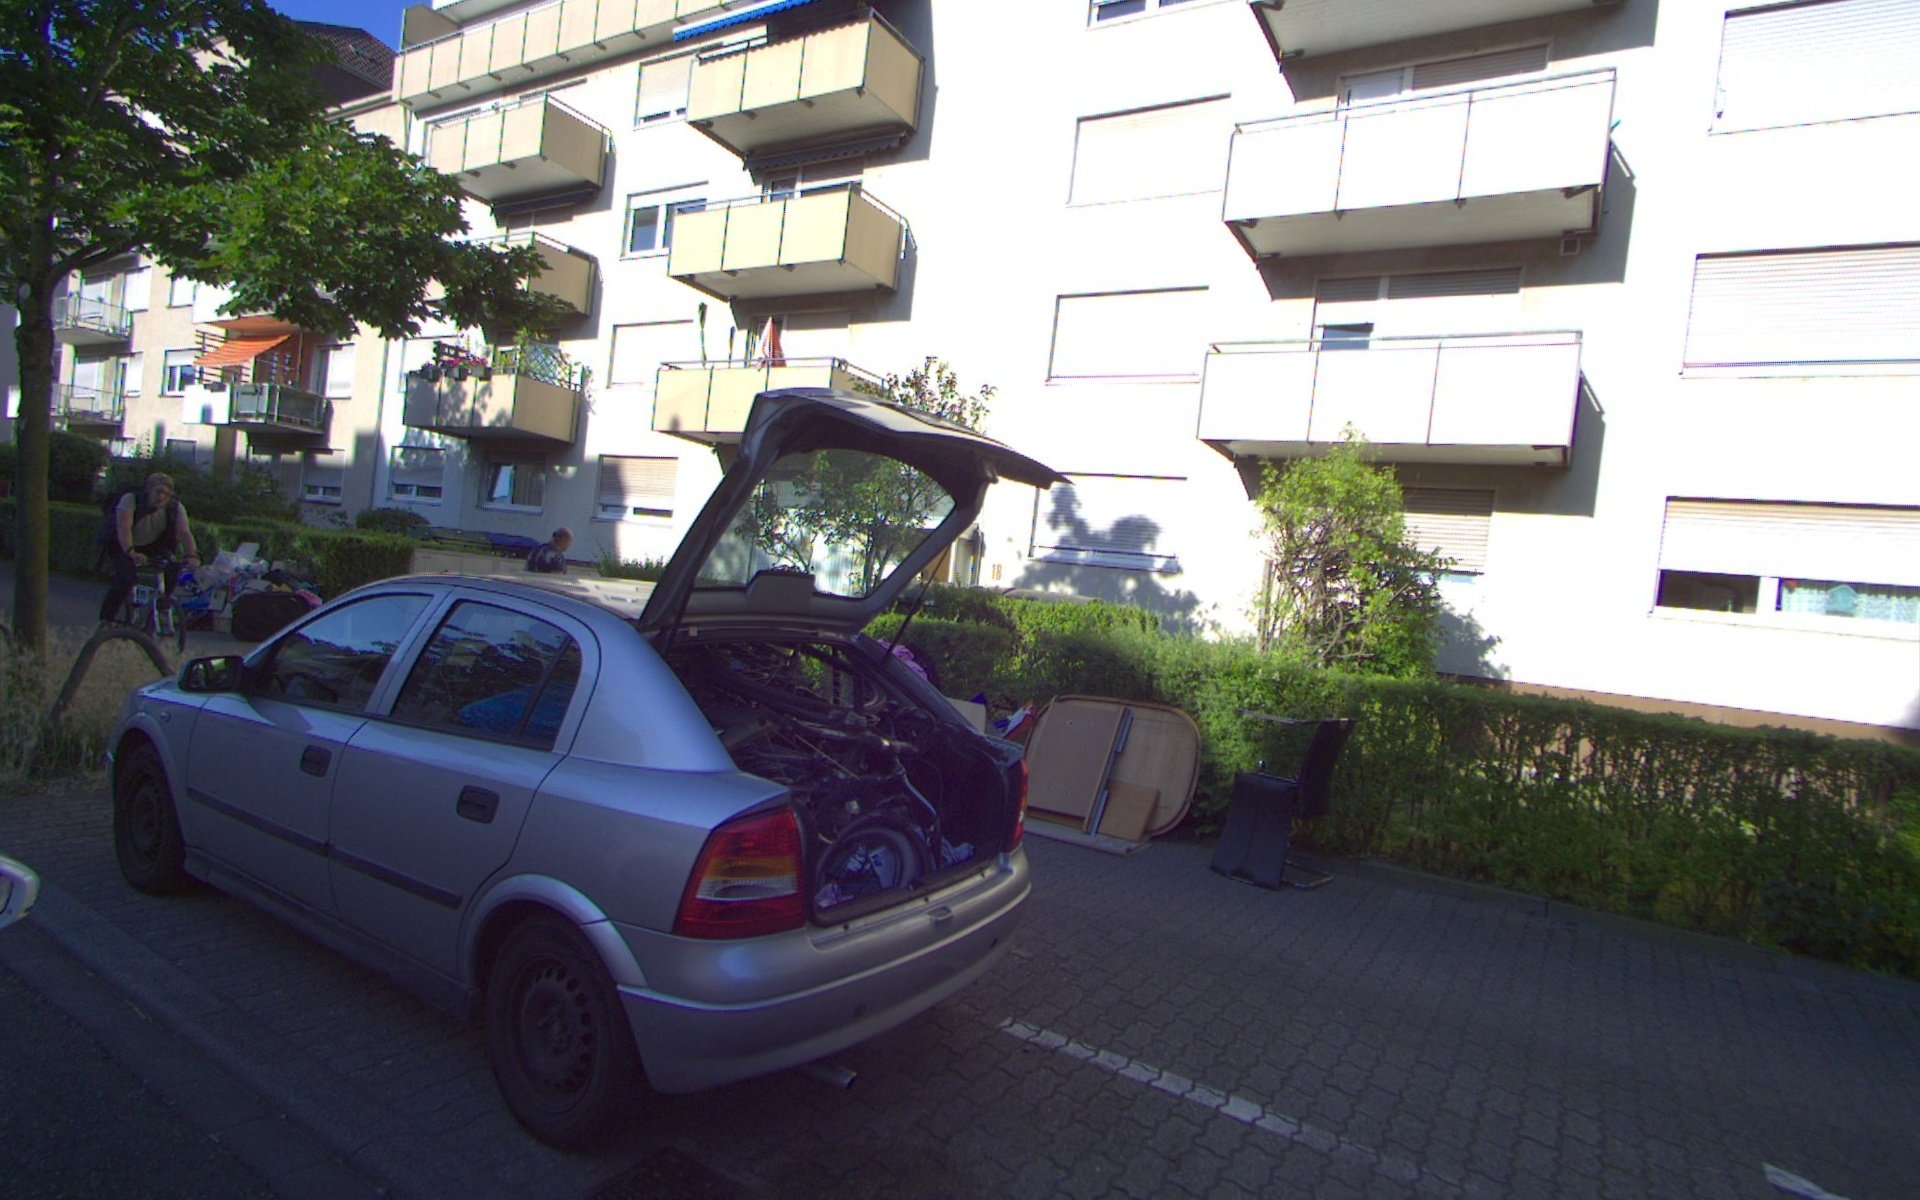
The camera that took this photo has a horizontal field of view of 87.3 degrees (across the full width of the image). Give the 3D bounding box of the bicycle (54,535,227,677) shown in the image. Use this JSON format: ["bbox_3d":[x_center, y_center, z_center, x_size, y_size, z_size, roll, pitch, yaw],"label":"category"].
[{"bbox_3d":[-7.670,0.035,9.377,2.045,1.089,0.557,7,1,32],"label":"bicycle"}]

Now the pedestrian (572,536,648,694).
[{"bbox_3d":[-3.695,0.150,10.592,0.585,1.560,0.692,6,1,-22],"label":"pedestrian"}]

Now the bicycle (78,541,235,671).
[{"bbox_3d":[-7.529,0.042,9.399,1.801,0.999,0.516,7,1,32],"label":"bicycle"}]

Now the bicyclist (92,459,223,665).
[{"bbox_3d":[-7.485,-0.349,9.386,0.838,1.811,0.581,7,1,32],"label":"bicyclist"}]

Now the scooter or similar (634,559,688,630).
[{"bbox_3d":[-5.787,-0.103,19.480,0.657,1.289,0.615,7,1,32],"label":"scooter or similar"}]

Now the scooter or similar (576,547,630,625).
[{"bbox_3d":[-7.202,-0.277,20.294,0.657,1.460,0.615,7,1,32],"label":"scooter or similar"}]

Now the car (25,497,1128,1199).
[{"bbox_3d":[-1.701,0.547,3.886,4.197,1.500,1.708,7,2,31],"label":"car"}]

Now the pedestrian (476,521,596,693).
[{"bbox_3d":[-4.390,0.074,10.439,0.744,1.660,0.695,7,1,27],"label":"pedestrian"}]

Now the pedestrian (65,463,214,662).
[{"bbox_3d":[-7.628,-0.337,9.367,0.763,1.730,0.755,7,1,32],"label":"pedestrian"}]

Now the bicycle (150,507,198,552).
[{"bbox_3d":[-23.648,-2.139,30.266,1.767,1.198,0.523,7,1,33],"label":"bicycle"}]
